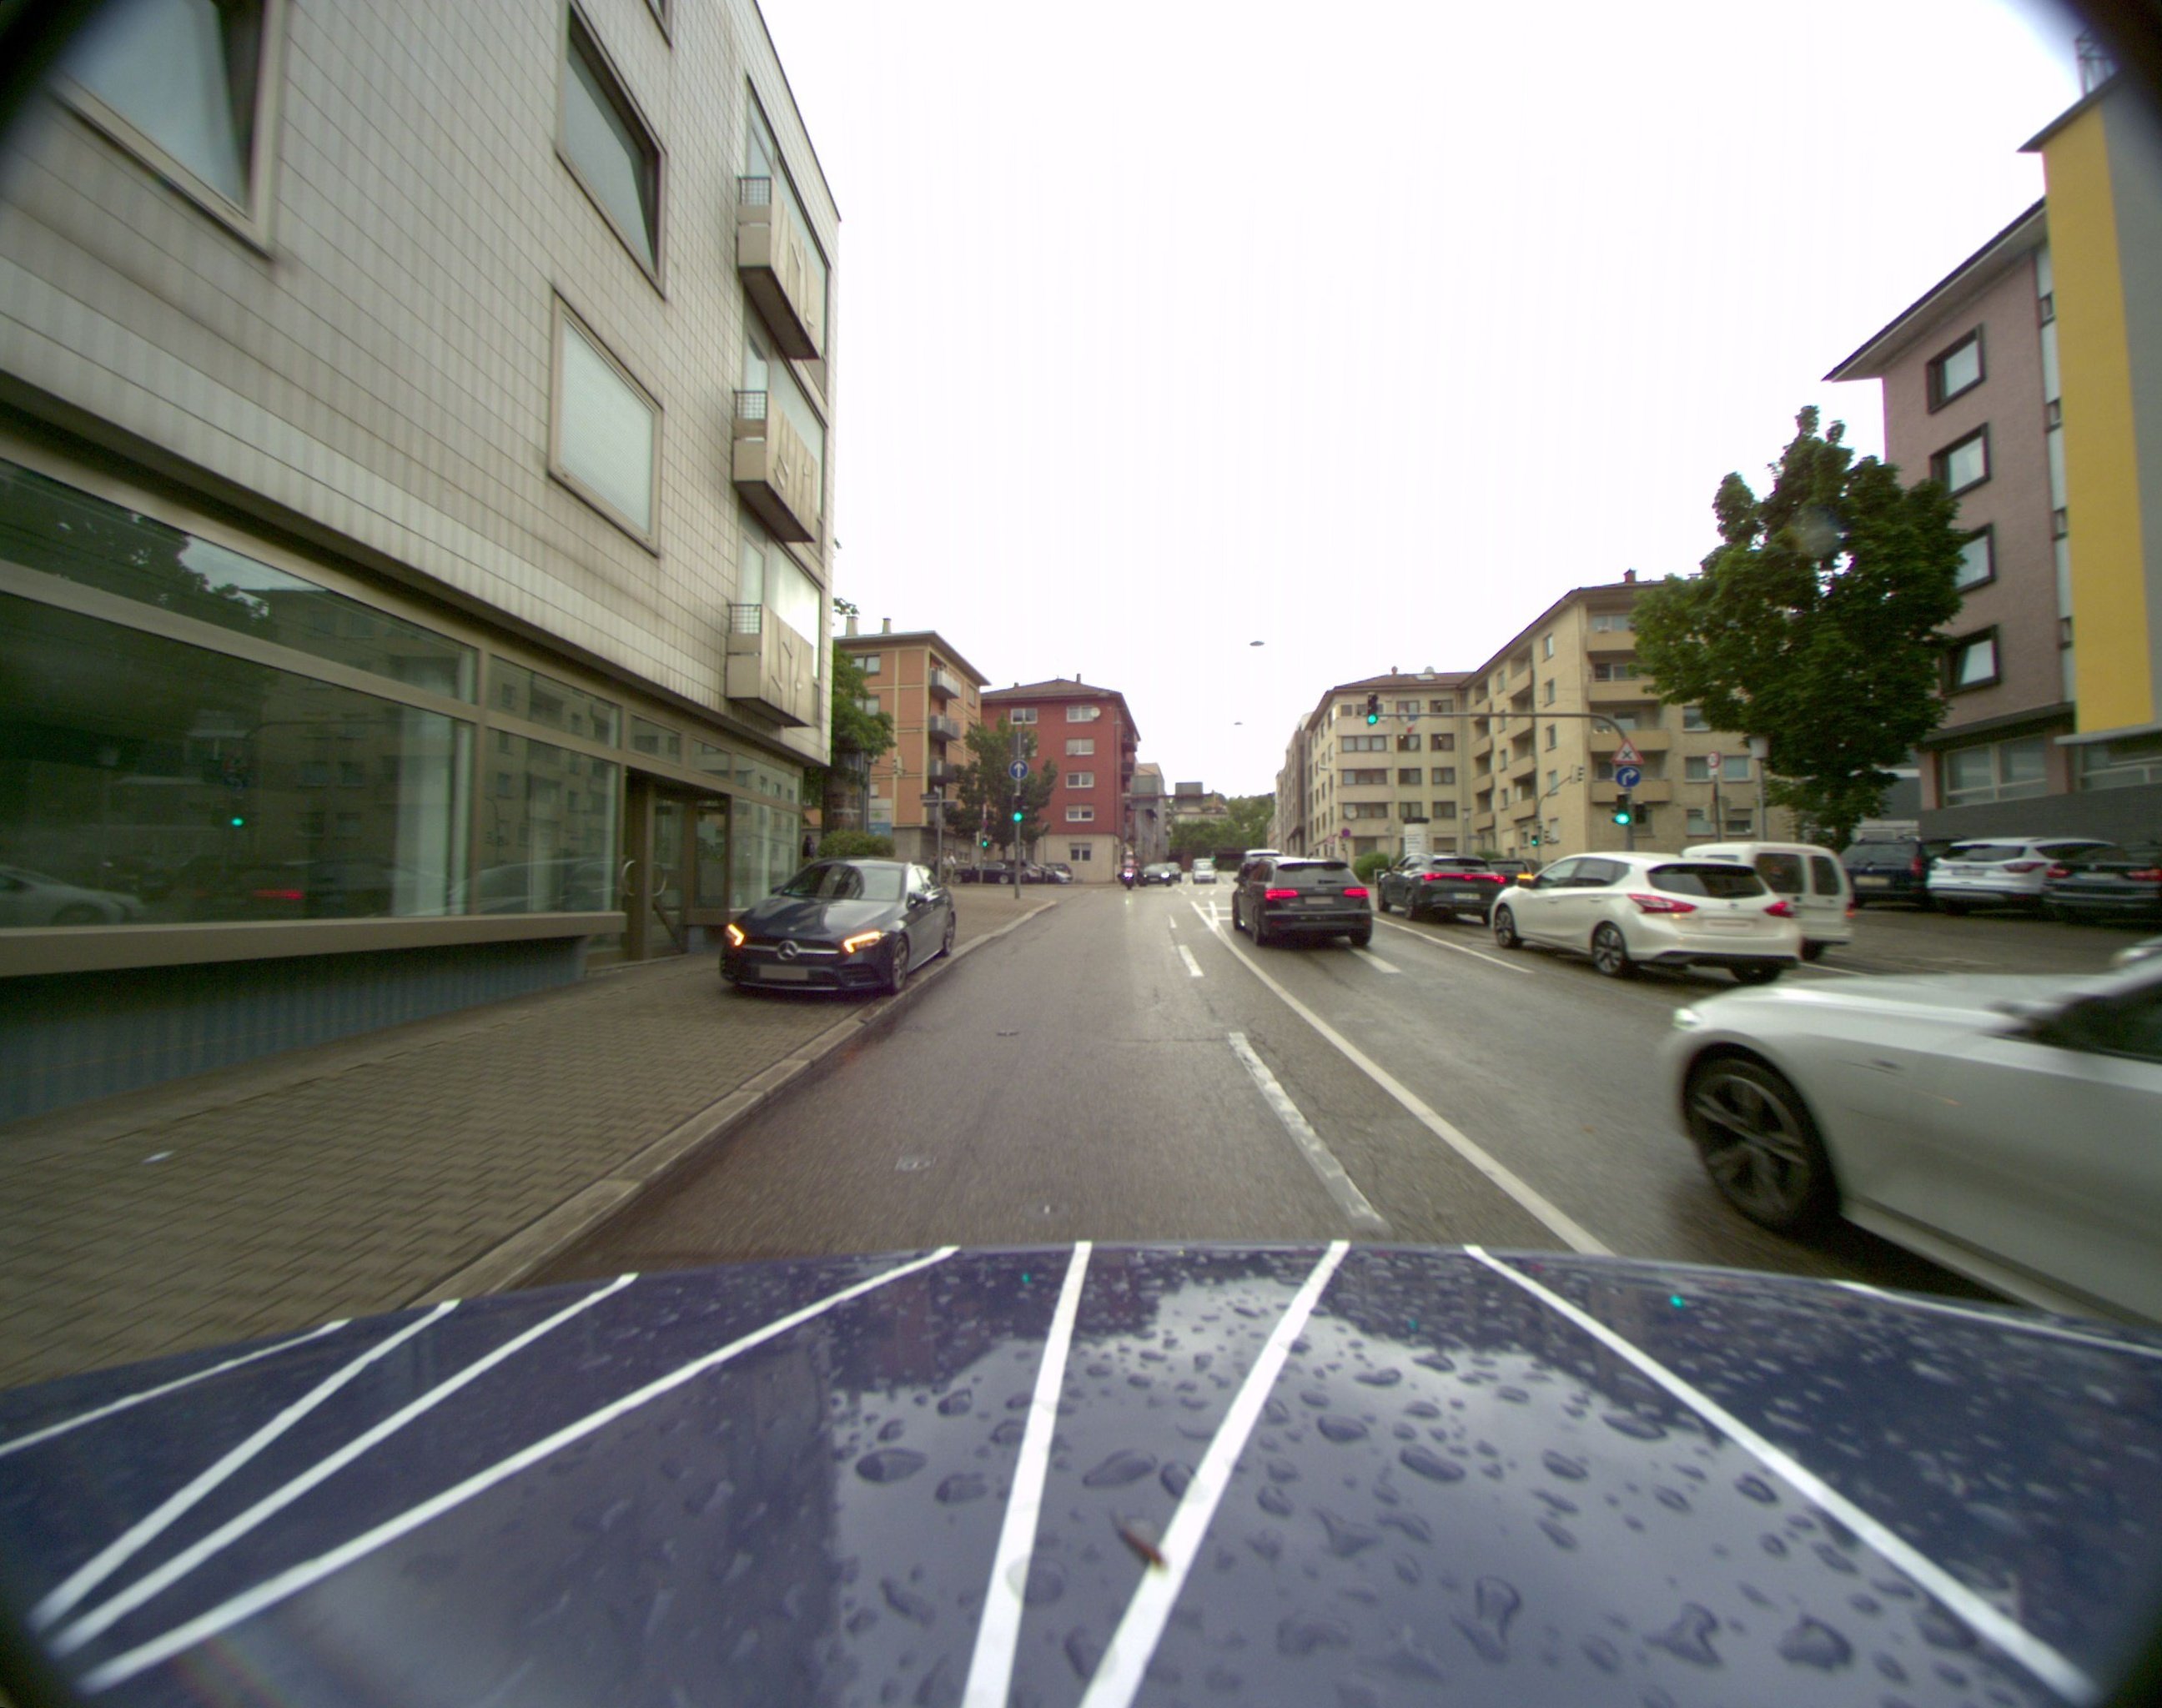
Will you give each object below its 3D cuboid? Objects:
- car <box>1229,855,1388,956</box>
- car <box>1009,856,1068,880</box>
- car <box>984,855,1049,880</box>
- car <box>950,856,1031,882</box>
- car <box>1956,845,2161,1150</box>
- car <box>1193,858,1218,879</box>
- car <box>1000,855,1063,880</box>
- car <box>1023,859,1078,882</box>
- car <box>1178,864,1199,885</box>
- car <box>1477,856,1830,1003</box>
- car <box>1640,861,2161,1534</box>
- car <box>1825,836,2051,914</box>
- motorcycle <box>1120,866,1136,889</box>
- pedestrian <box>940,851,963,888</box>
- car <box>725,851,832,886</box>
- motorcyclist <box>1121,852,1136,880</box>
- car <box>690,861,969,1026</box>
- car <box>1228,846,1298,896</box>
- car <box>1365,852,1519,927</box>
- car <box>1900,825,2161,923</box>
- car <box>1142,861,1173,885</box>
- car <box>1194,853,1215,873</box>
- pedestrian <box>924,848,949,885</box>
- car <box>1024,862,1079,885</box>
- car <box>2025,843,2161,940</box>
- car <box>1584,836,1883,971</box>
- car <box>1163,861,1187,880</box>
[{"bbox_3d":[3.723,0.751,13.253,1.810,1.407,4.380,0,1,5],"label":"car"},{"bbox_3d":[-3.168,1.040,56.752,3.992,1.687,1.803,-1,-3,16],"label":"car"},{"bbox_3d":[-4.333,0.946,51.406,3.994,1.650,1.995,0,-2,8],"label":"car"},{"bbox_3d":[-5.753,0.961,48.592,4.787,1.545,1.852,1,-1,12],"label":"car"},{"bbox_3d":[6.656,0.820,2.808,1.811,1.622,4.342,2,1,2],"label":"car"},{"bbox_3d":[9.735,1.147,59.385,1.838,1.545,4.004,-1,-1,10],"label":"car"},{"bbox_3d":[-3.489,0.964,54.182,3.991,1.709,1.996,-1,-1,21],"label":"car"},{"bbox_3d":[-2.456,1.369,61.752,3.991,1.694,2.004,-2,-4,22],"label":"car"},{"bbox_3d":[9.920,1.883,69.854,1.792,1.716,4.006,-1,-4,9],"label":"car"},{"bbox_3d":[7.144,0.829,10.179,1.810,1.533,4.382,0,-1,7],"label":"car"},{"bbox_3d":[3.372,0.821,1.165,1.811,1.512,4.562,0,1,3],"label":"car"},{"bbox_3d":[20.686,0.428,18.380,4.348,1.719,1.771,-1,2,-14],"label":"car"},{"bbox_3d":[2.072,1.021,33.627,0.637,0.921,2.365,-2,0,3],"label":"motorcycle"},{"bbox_3d":[-5.894,0.726,34.649,0.760,1.636,0.709,4,-4,-26],"label":"pedestrian"},{"bbox_3d":[-13.377,0.636,33.704,3.993,1.503,1.852,0,-1,10],"label":"car"},{"bbox_3d":[2.084,0.539,33.592,0.654,1.216,0.658,0,0,3],"label":"motorcyclist"},{"bbox_3d":[-2.717,0.869,9.381,1.768,1.384,4.379,2,1,3],"label":"car"},{"bbox_3d":[6.207,0.530,26.346,1.822,1.528,4.380,0,1,7],"label":"car"},{"bbox_3d":[7.913,0.732,17.135,1.822,1.469,4.382,0,-1,7],"label":"car"},{"bbox_3d":[20.284,0.383,16.179,3.999,1.783,1.860,-3,0,-7],"label":"car"},{"bbox_3d":[4.828,1.194,48.070,1.873,1.433,4.003,-1,-1,6],"label":"car"},{"bbox_3d":[12.789,0.953,78.570,1.940,1.903,4.862,-2,-3,11],"label":"car"},{"bbox_3d":[-6.634,0.579,34.842,0.761,1.636,0.708,6,-5,-42],"label":"pedestrian"},{"bbox_3d":[-2.297,1.511,59.016,3.990,1.571,1.678,-3,-4,28],"label":"car"},{"bbox_3d":[20.135,0.596,13.781,3.999,1.488,1.859,-2,2,-5],"label":"car"},{"bbox_3d":[10.787,0.697,13.046,1.731,1.819,4.061,5,1,5],"label":"car"},{"bbox_3d":[8.009,1.365,64.500,1.838,1.545,4.004,-1,-1,10],"label":"car"}]
